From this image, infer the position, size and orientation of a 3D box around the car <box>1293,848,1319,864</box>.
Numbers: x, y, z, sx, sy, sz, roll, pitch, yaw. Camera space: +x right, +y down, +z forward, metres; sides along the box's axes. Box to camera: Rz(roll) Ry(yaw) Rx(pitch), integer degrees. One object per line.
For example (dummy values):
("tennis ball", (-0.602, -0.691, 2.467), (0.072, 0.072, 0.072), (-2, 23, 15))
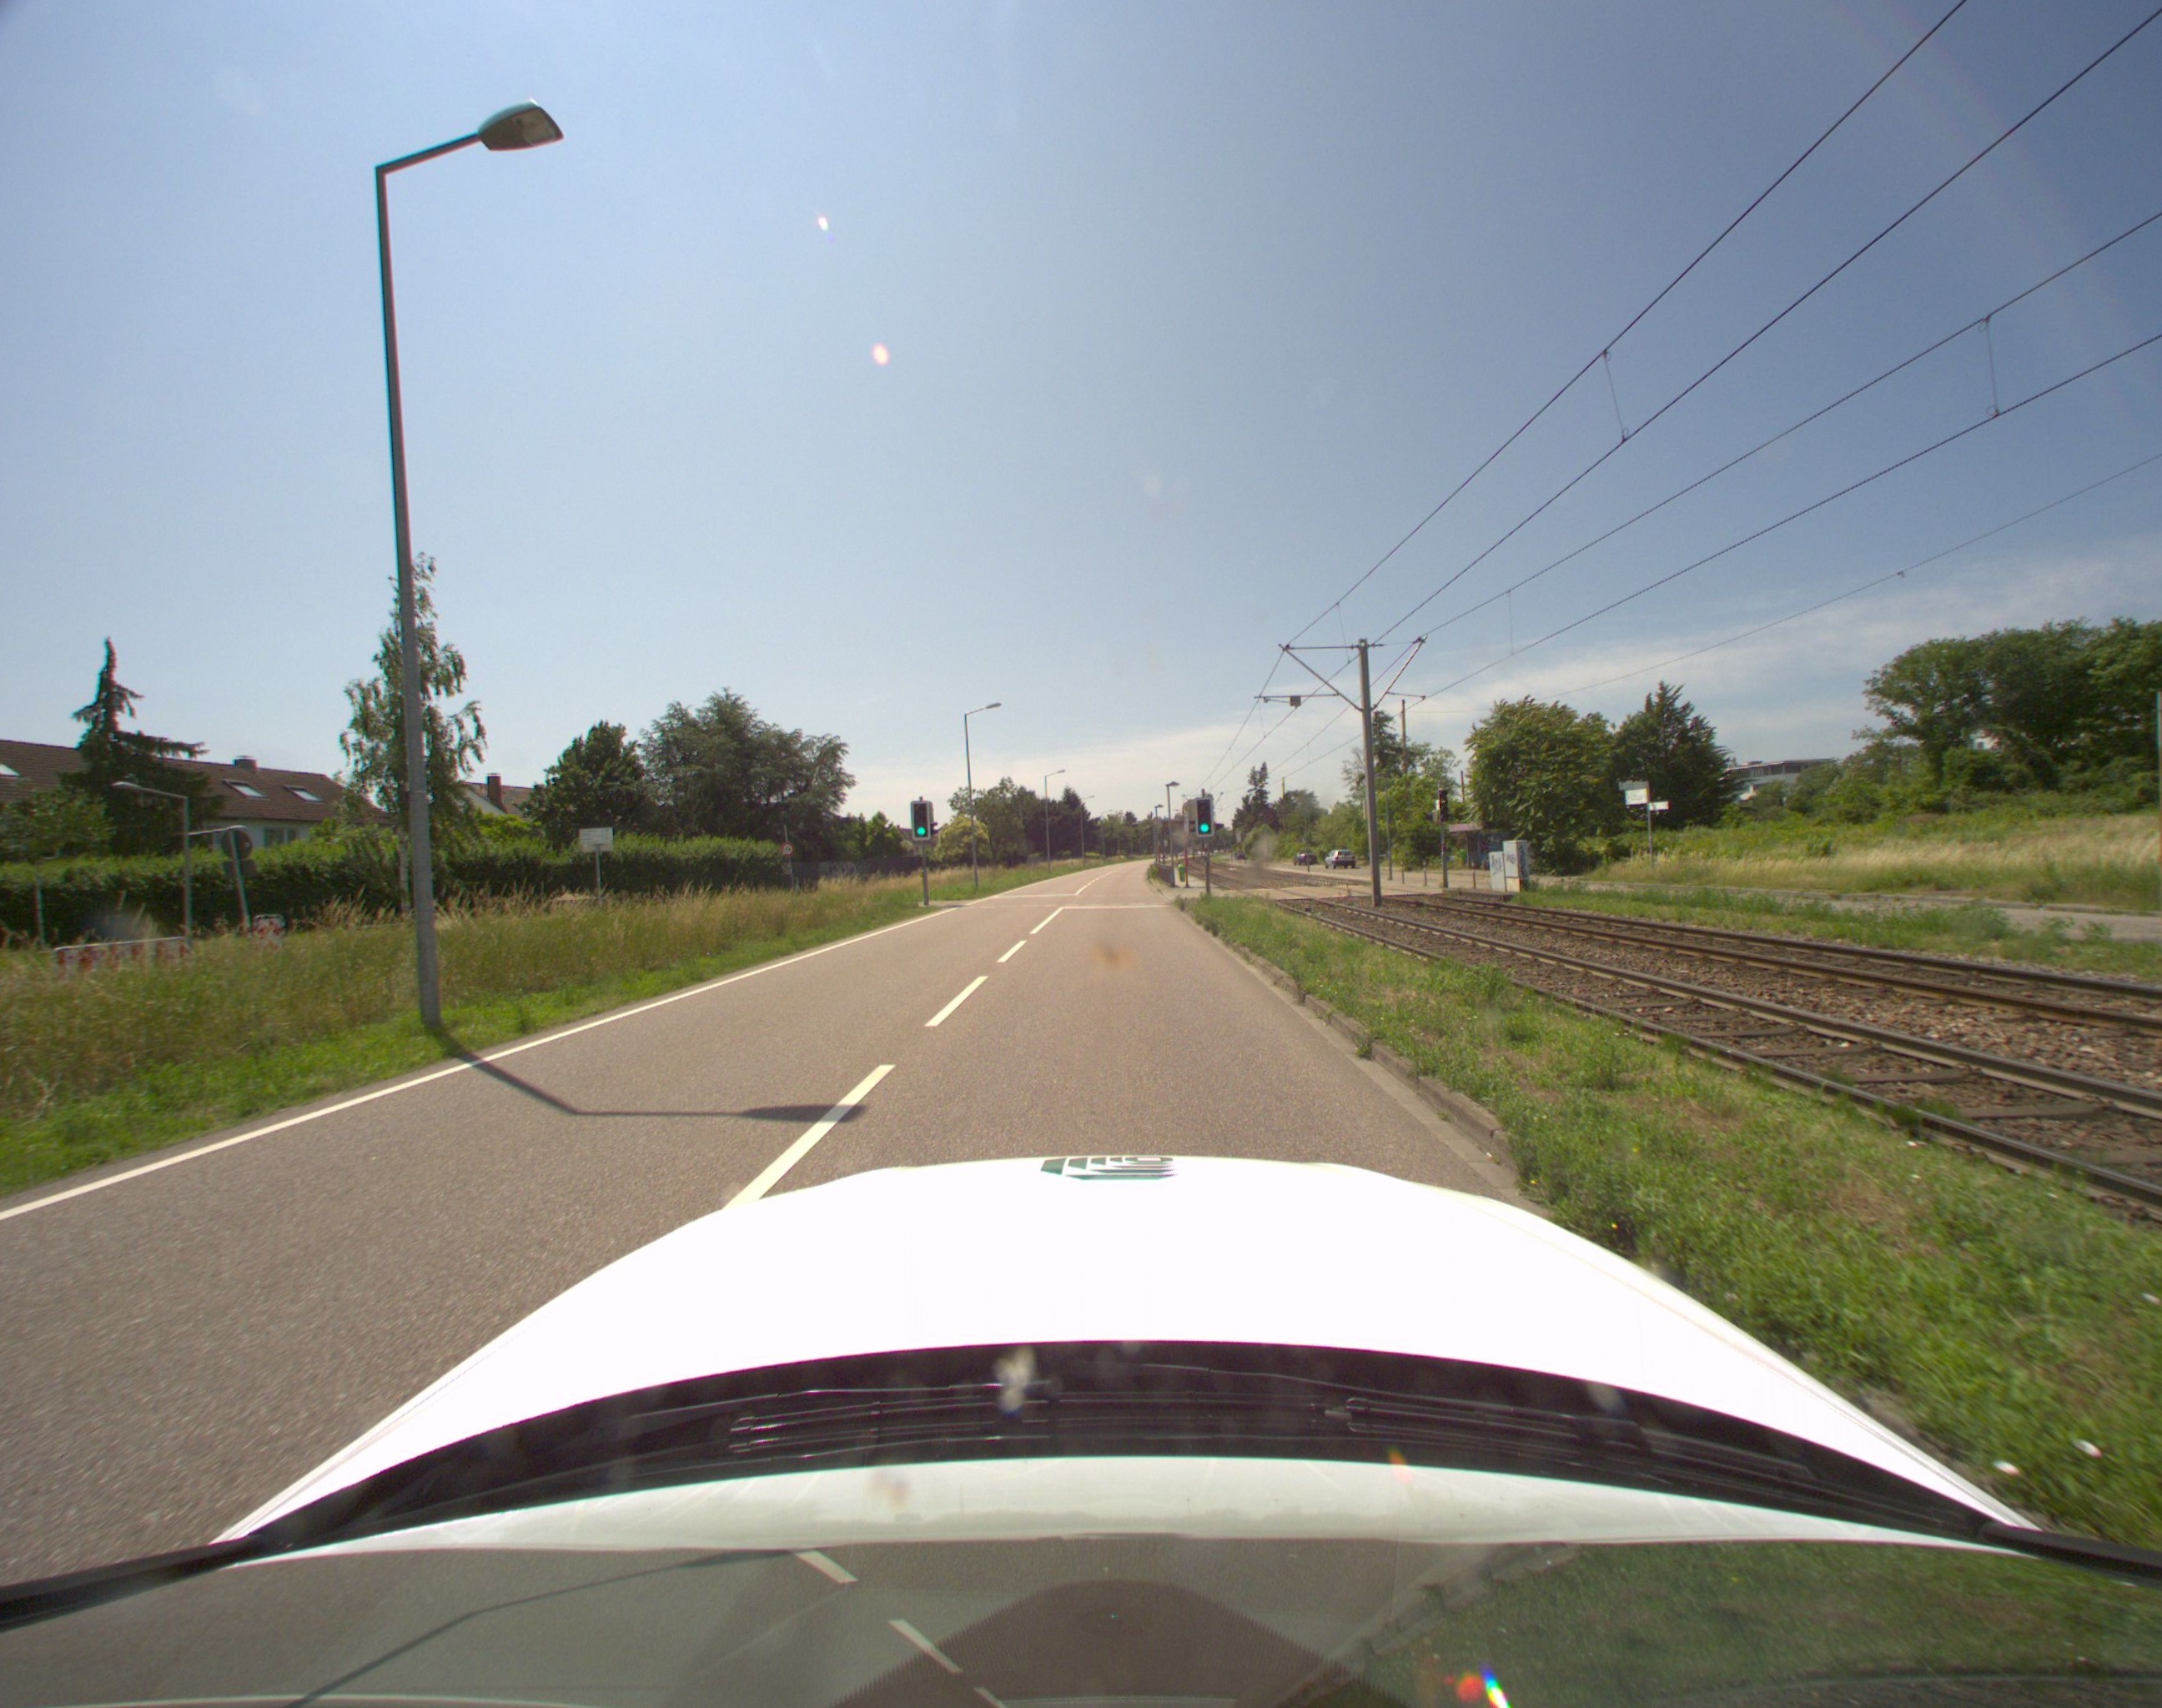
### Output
("car", (22.201, 0.181, 80.505), (1.612, 1.422, 4.880), (-2, 0, 5))

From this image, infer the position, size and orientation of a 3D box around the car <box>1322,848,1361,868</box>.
("car", (19.734, 0.290, 61.738), (1.930, 1.422, 4.005), (-2, 0, 5))

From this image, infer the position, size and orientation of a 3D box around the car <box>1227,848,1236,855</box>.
("car", (33.891, -0.509, 183.226), (1.903, 1.470, 4.010), (-2, 0, 9))

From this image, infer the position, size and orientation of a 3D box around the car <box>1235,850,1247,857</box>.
("car", (29.428, -0.119, 150.058), (1.851, 1.330, 4.523), (-2, 0, 6))

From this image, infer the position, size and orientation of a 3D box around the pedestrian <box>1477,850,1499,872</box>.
("pedestrian", (20.735, 0.331, 41.502), (0.803, 1.087, 0.721), (-2, 0, 12))

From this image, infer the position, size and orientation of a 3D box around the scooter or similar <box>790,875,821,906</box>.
("scooter or similar", (-11.043, 1.455, 32.651), (1.017, 1.128, 0.647), (-3, 0, -7))
